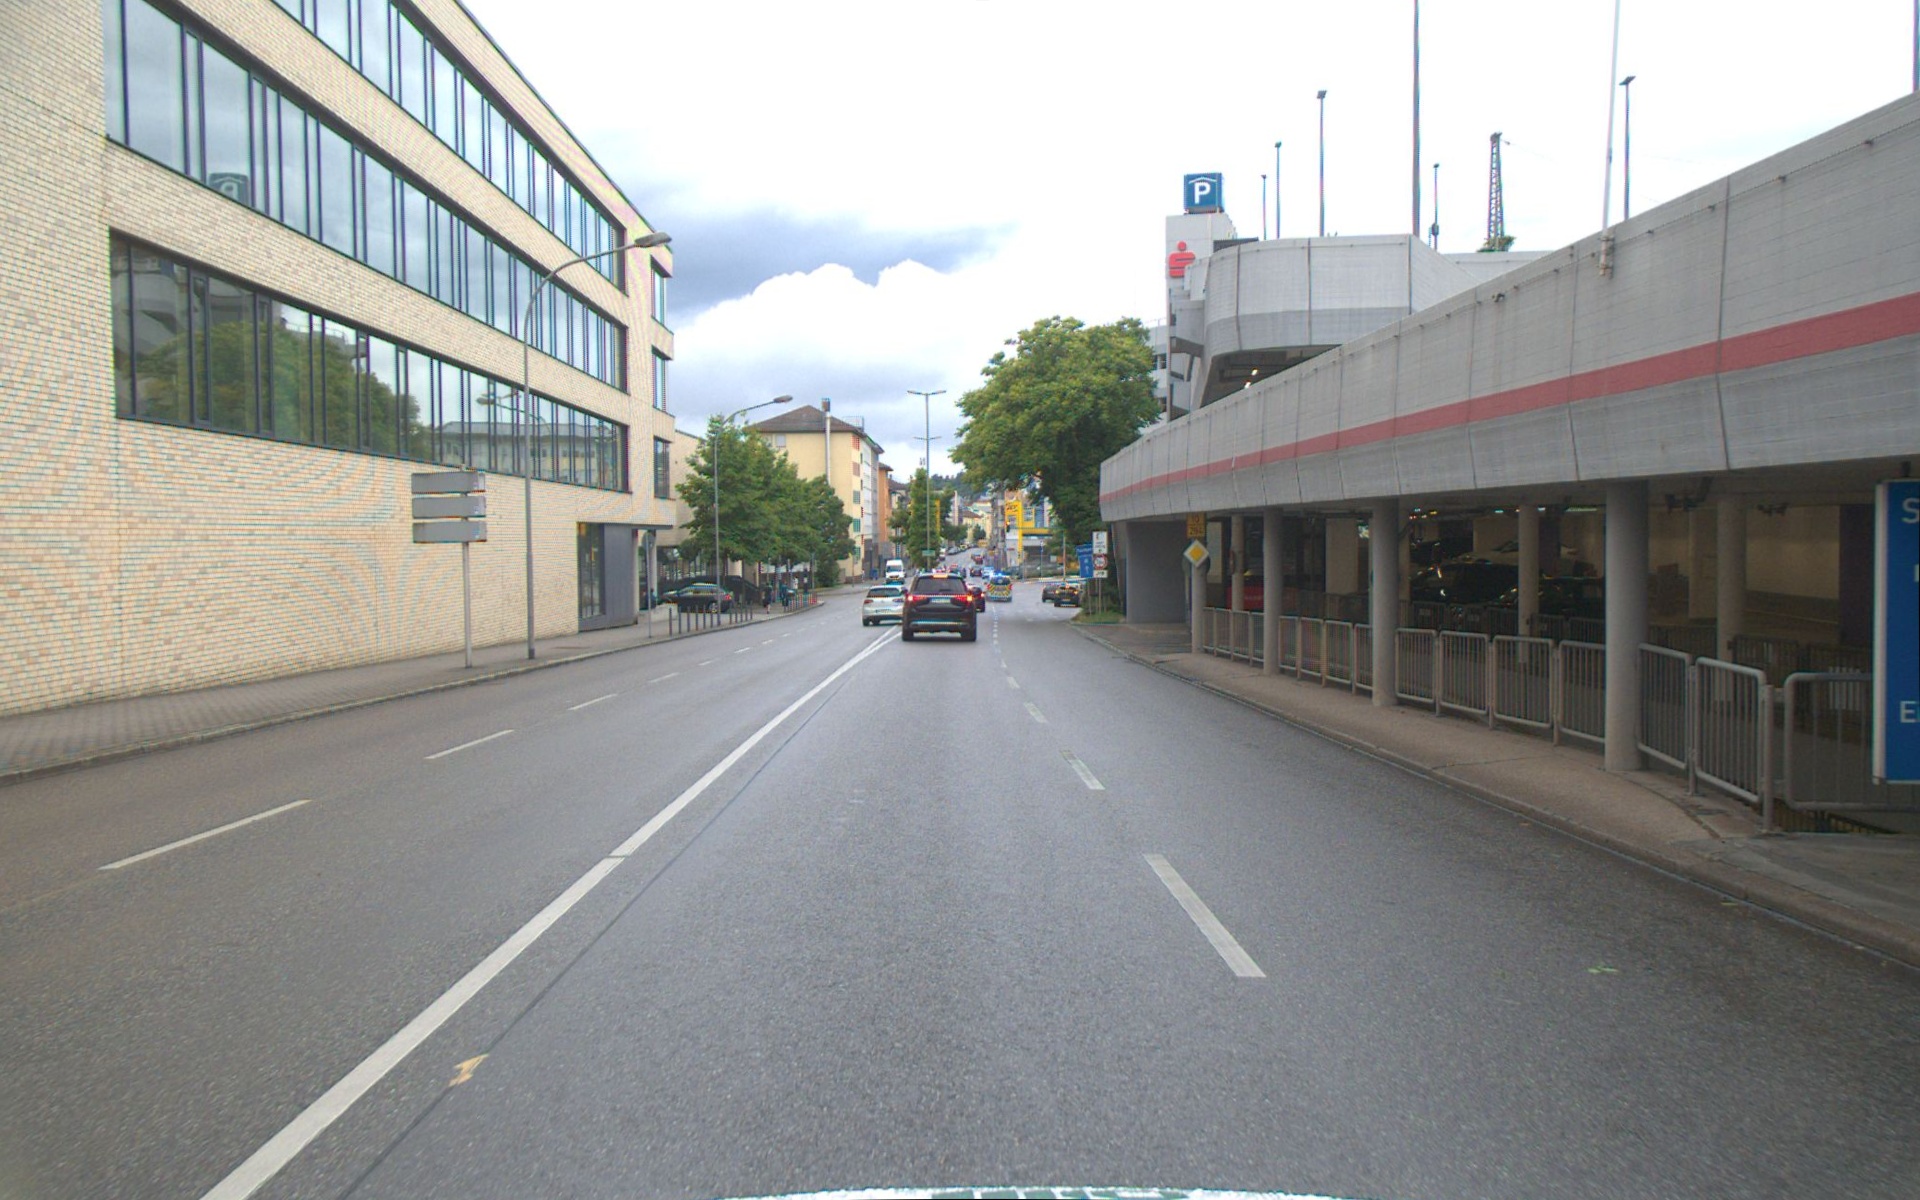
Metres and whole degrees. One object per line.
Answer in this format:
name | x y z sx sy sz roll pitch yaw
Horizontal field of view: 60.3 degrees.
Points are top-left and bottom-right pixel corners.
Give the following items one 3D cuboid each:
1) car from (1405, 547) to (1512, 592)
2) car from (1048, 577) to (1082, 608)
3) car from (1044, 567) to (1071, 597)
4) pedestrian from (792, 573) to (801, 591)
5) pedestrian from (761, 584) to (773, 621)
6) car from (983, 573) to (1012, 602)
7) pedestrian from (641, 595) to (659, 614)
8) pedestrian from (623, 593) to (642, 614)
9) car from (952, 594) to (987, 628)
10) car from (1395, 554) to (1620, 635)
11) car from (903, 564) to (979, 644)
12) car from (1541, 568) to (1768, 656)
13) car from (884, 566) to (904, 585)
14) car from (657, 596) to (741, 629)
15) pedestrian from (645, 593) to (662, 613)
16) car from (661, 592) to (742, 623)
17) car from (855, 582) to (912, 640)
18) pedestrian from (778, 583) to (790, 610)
car | 20.093 -1.223 66.767 3.902 1.668 2.002 1 -1 10
car | 7.130 -0.522 112.605 1.953 2.049 3.999 1 1 -1
car | 7.329 -1.316 124.609 1.952 2.165 4.001 1 0 3
pedestrian | -14.171 -1.569 143.747 0.696 1.487 0.598 1 -1 -1
pedestrian | -10.903 0.141 93.493 0.576 2.049 0.749 1 -1 -1
car | 2.778 -0.919 122.833 1.953 2.049 3.999 1 0 -1
pedestrian | -13.443 0.185 71.728 0.585 0.800 0.760 1 -1 1
pedestrian | -14.003 0.146 70.704 0.667 0.901 0.524 1 -1 1
car | 0.496 0.613 88.929 1.669 1.746 3.441 1 0 -2
car | 12.096 -0.119 36.803 4.478 1.668 1.823 1 -1 9
car | -0.510 0.115 45.169 1.953 2.049 3.999 1 0 -1
car | 13.199 0.219 31.620 3.643 1.531 1.809 -2 1 8
car | -7.153 -2.644 180.189 1.953 1.908 5.140 1 0 -1
car | -14.321 0.681 90.961 4.382 1.614 1.998 -2 1 -6
pedestrian | -13.480 0.141 72.751 0.574 0.859 0.727 0 -1 1
car | -14.612 0.410 93.706 4.329 1.601 1.999 1 2 -5
car | -2.860 0.415 62.628 1.953 2.049 3.999 1 0 -1
pedestrian | -11.837 -0.257 111.023 0.674 1.756 0.754 1 -3 0
